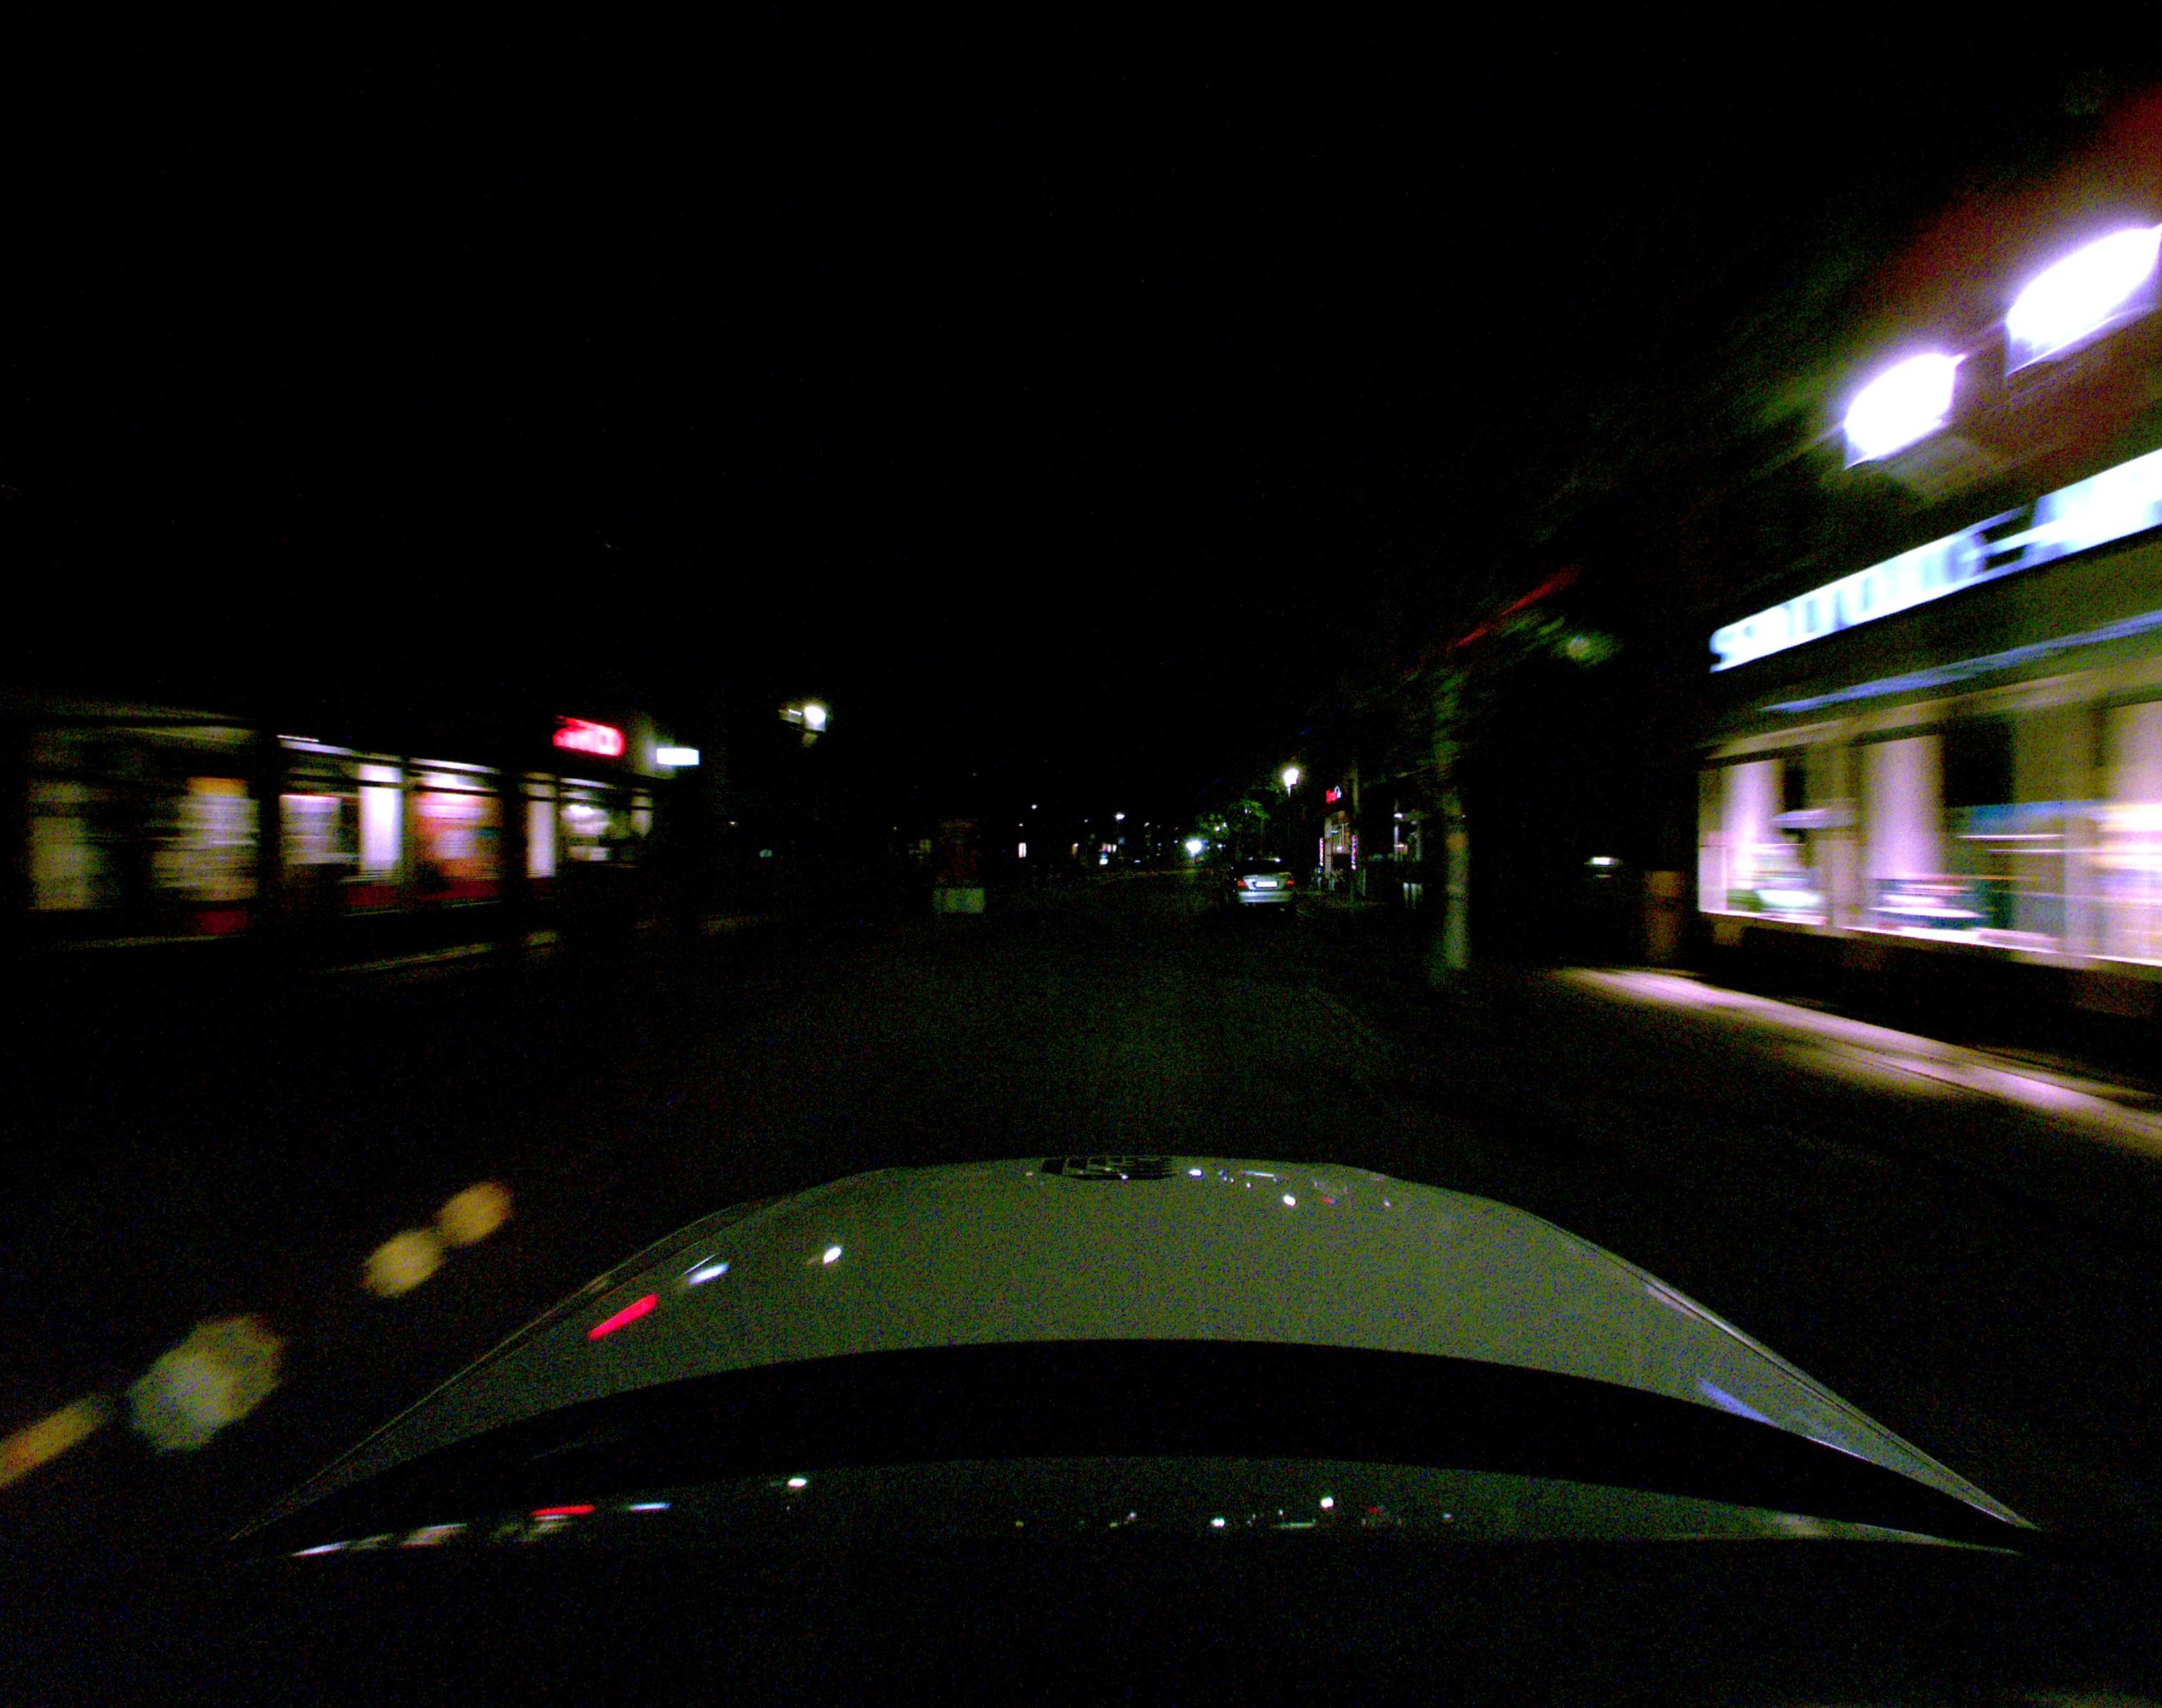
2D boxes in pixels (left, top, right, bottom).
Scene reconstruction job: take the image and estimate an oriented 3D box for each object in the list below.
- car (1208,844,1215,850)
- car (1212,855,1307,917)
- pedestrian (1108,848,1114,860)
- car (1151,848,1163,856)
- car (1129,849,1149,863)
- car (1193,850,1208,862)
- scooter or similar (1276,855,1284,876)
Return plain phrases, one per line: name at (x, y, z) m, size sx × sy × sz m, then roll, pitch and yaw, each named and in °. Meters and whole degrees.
car at (32.790, -1.766, 204.902) m, size 1.765 × 1.652 × 4.376 m, roll -1°, pitch 1°, yaw 9°
car at (4.638, 0.769, 21.733) m, size 1.727 × 1.440 × 4.500 m, roll -1°, pitch 0°, yaw 3°
pedestrian at (4.347, -0.029, 117.868) m, size 0.765 × 1.656 × 0.819 m, roll -1°, pitch 2°, yaw 9°
car at (14.383, -0.453, 153.284) m, size 1.903 × 1.370 × 4.470 m, roll -1°, pitch 1°, yaw 10°
car at (7.132, 0.208, 99.604) m, size 2.006 × 1.691 × 5.015 m, roll 1°, pitch 1°, yaw 9°
car at (15.309, 0.191, 104.307) m, size 1.666 × 1.459 × 3.682 m, roll -1°, pitch 0°, yaw 6°
scooter or similar at (12.267, 0.703, 50.211) m, size 0.371 × 1.277 × 1.308 m, roll -1°, pitch -1°, yaw 9°
